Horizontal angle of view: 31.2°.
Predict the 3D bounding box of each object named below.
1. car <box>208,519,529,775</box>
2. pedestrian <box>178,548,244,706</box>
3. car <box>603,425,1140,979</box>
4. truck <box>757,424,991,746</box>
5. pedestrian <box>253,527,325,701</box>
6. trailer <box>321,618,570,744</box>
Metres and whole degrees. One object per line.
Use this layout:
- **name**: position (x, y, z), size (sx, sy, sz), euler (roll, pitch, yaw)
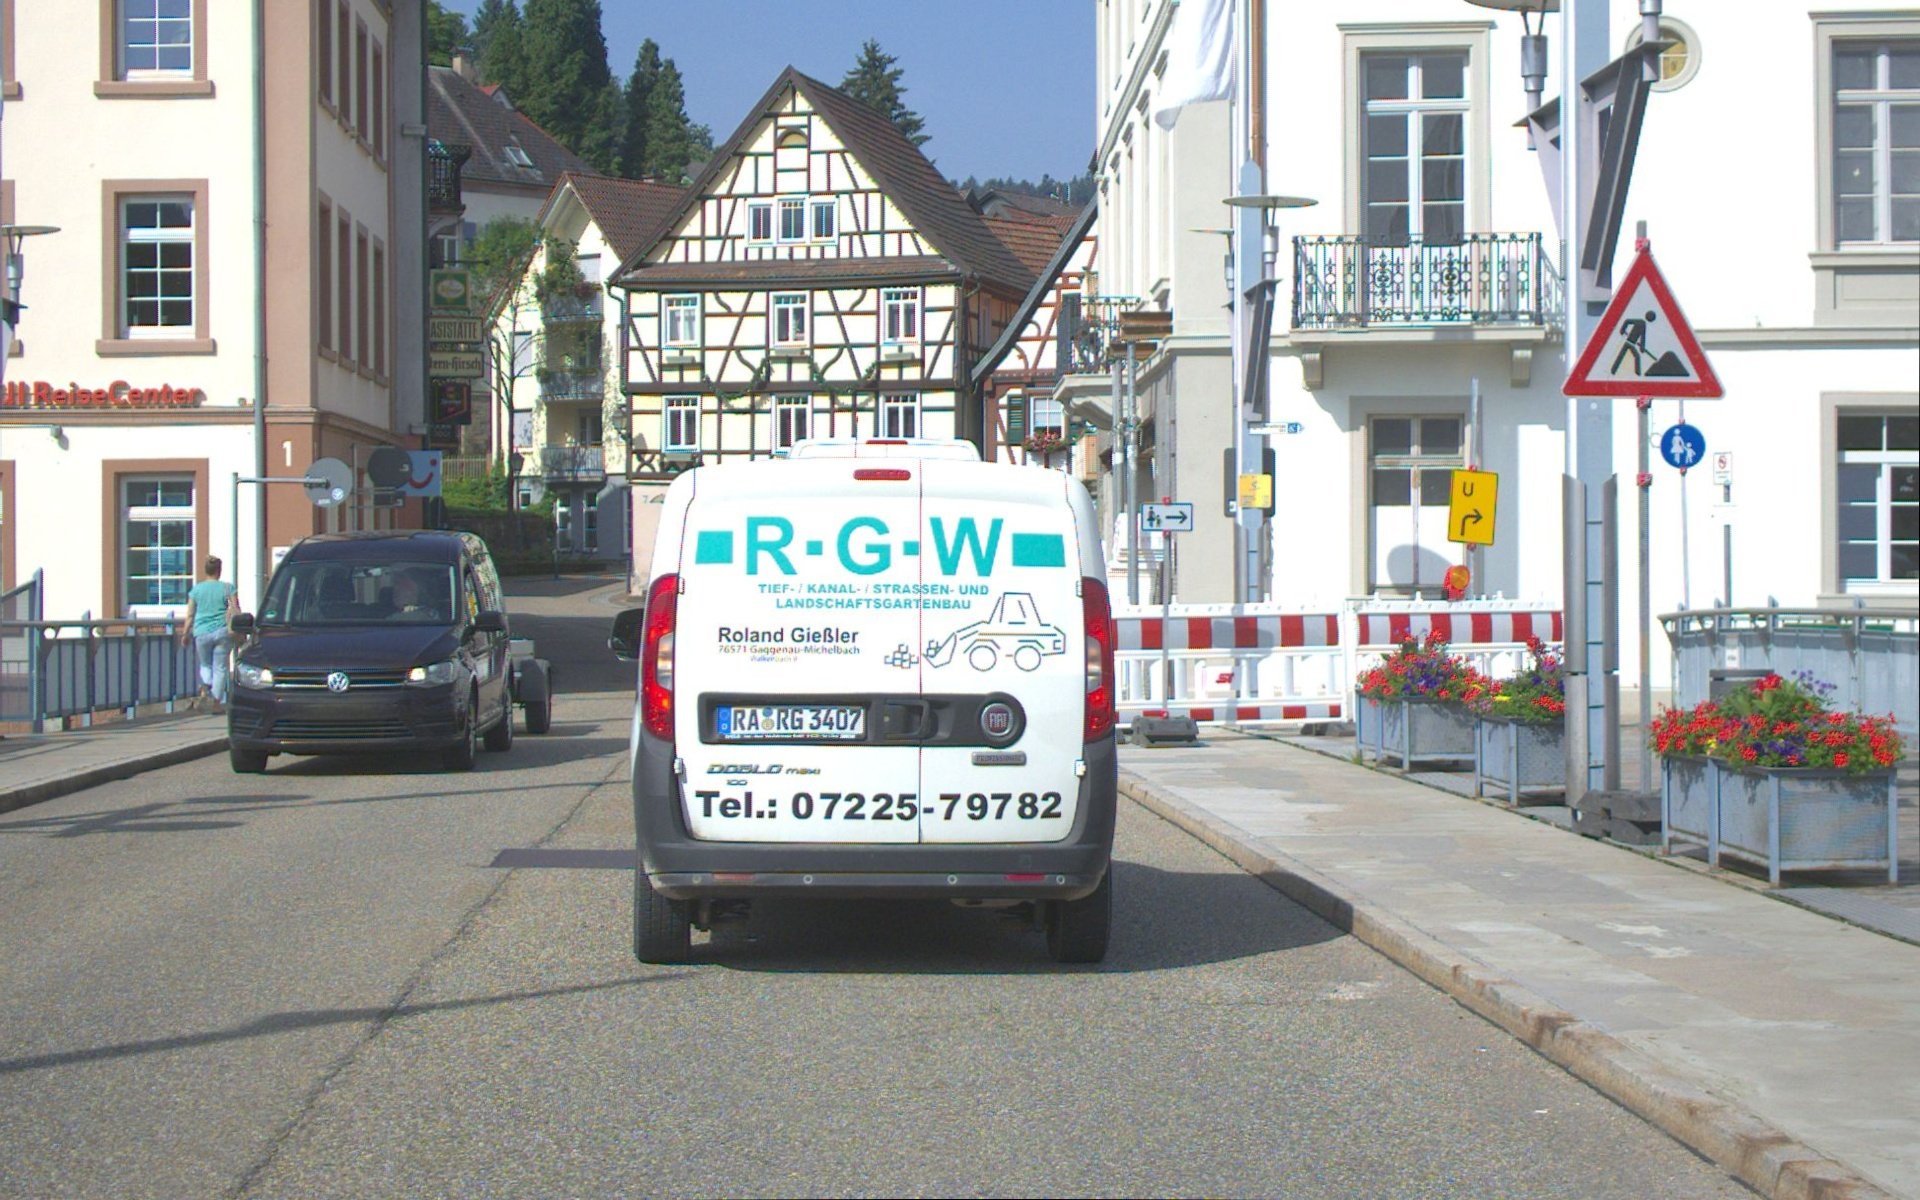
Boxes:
- **car**: position (-4.461, 0.278, 26.577), size (1.776, 1.786, 4.697), euler (1, 1, -2)
- **pedestrian**: position (-7.716, 0.275, 35.428), size (0.583, 1.604, 0.537), euler (1, 1, -5)
- **car**: position (-0.508, 0.337, 14.019), size (1.844, 1.899, 4.315), euler (0, 1, -6)
- **truck**: position (-0.813, -0.145, 29.772), size (1.861, 2.576, 4.261), euler (0, 1, -3)
- **pedestrian**: position (-6.890, 0.134, 35.339), size (0.614, 1.756, 0.864), euler (1, 1, -4)
- **trailer**: position (-4.570, 0.695, 31.030), size (1.750, 1.019, 4.186), euler (-1, 0, -2)
